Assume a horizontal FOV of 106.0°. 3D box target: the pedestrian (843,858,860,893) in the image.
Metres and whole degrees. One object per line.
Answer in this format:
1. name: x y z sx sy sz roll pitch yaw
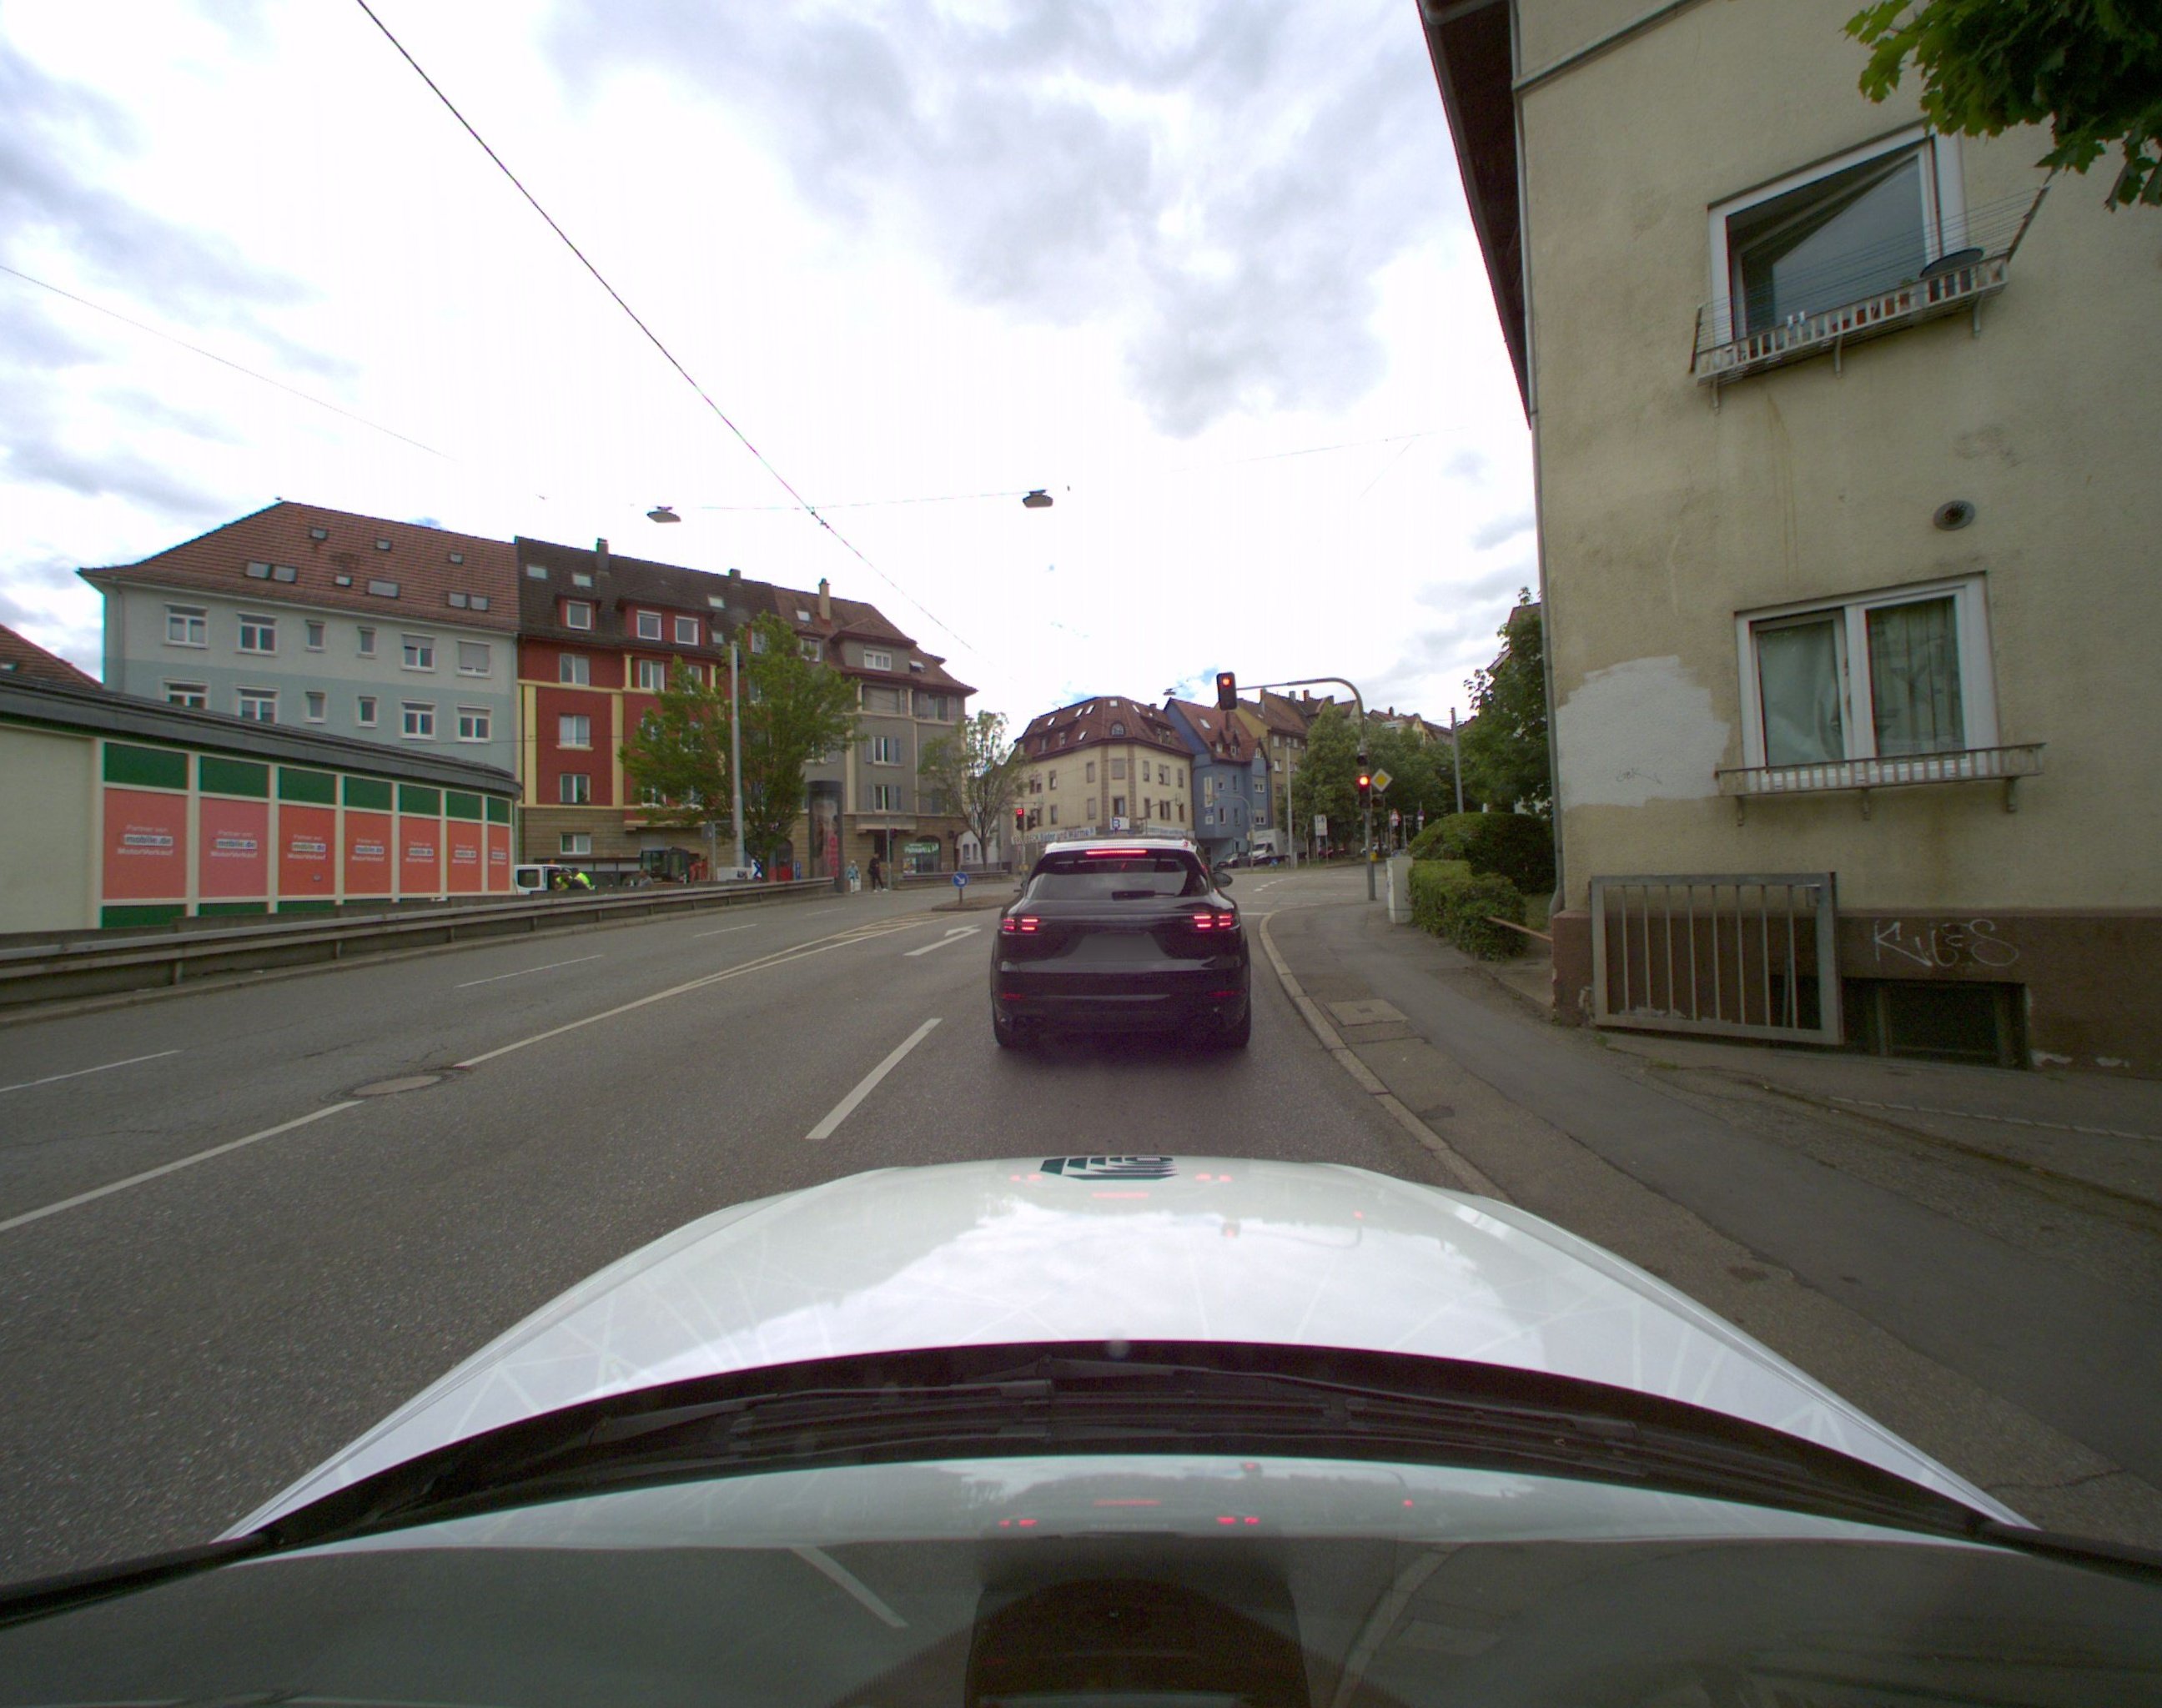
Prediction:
1. pedestrian: -10.404 0.990 36.898 0.587 1.567 0.486 1 -1 1

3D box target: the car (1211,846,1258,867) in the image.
1. car: 13.521 0.211 71.667 4.021 1.684 1.976 -1 -1 -41

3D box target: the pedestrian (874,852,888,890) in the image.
1. pedestrian: -9.261 0.777 37.692 0.511 1.730 0.451 1 -1 4

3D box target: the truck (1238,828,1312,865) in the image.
1. truck: 18.735 -0.693 78.272 2.846 3.340 8.846 0 0 43

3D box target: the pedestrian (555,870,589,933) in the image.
1. pedestrian: -14.410 1.327 23.069 0.565 1.761 0.622 0 -1 37

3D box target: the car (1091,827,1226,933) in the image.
1. car: 1.582 0.434 15.154 1.980 1.684 4.014 -1 0 12

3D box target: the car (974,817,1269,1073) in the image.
1. car: 0.250 0.594 7.521 1.973 1.684 3.998 -1 0 -1

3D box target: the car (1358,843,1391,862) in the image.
1. car: 33.468 -0.160 92.862 4.022 2.014 1.976 1 -1 -44

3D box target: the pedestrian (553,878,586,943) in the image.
1. pedestrian: -13.707 1.515 21.841 0.562 1.700 0.541 1 -1 -10

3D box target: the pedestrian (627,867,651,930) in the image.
1. pedestrian: -12.594 1.254 23.205 0.545 1.730 0.587 1 -1 -33

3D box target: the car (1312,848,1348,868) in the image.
1. car: 26.178 0.434 85.712 1.975 2.014 4.023 0 -1 45

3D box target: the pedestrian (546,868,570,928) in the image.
1. pedestrian: -15.227 1.268 23.711 0.479 1.730 0.536 1 -1 -44

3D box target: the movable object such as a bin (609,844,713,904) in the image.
1. movable object such as a bin: -13.384 0.617 26.204 1.903 1.771 3.984 1 0 -11
